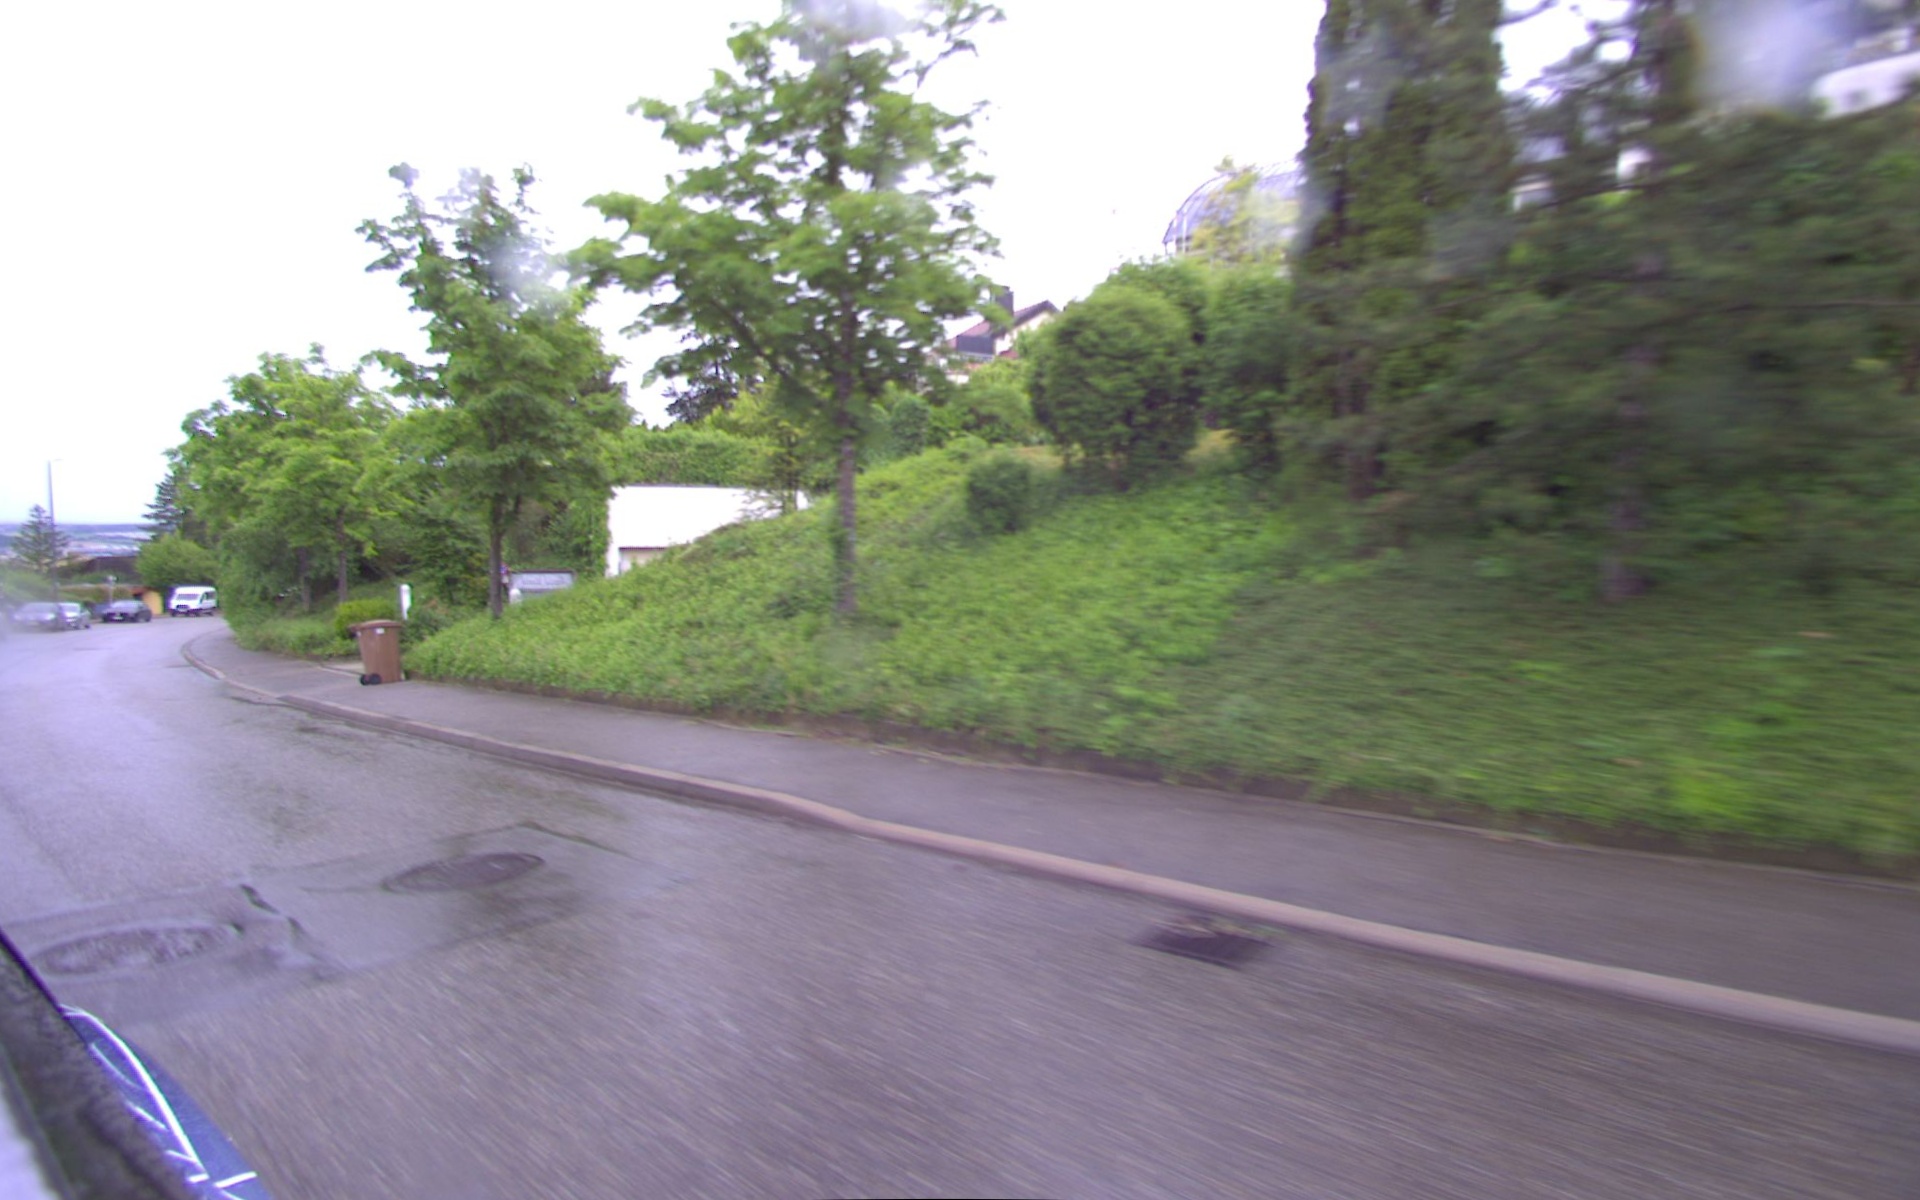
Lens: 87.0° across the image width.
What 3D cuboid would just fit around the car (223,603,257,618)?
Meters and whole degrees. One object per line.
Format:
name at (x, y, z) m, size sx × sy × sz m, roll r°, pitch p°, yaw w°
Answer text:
car at (-72.285, 1.029, 101.640) m, size 1.725 × 1.434 × 4.013 m, roll 0°, pitch 0°, yaw -20°

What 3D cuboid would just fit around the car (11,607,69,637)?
car at (-47.870, 1.109, 52.718) m, size 1.636 × 1.478 × 3.773 m, roll 2°, pitch -1°, yaw -34°

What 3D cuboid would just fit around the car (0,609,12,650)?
car at (-39.651, 1.170, 40.595) m, size 1.780 × 1.639 × 4.298 m, roll 2°, pitch -1°, yaw -36°

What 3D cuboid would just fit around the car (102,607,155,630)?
car at (-57.879, 1.289, 70.544) m, size 1.831 × 1.538 × 5.080 m, roll 1°, pitch -1°, yaw -28°

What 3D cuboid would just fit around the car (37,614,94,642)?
car at (-50.626, 1.579, 57.357) m, size 1.744 × 1.478 × 4.247 m, roll 2°, pitch -1°, yaw -32°

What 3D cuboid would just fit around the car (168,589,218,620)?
car at (-66.323, 0.396, 87.590) m, size 2.043 × 2.569 × 6.202 m, roll 0°, pitch 0°, yaw -24°

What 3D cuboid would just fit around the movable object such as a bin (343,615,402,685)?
movable object such as a bin at (-9.992, 0.847, 17.206) m, size 0.686 × 1.099 × 0.804 m, roll -4°, pitch -2°, yaw -40°
